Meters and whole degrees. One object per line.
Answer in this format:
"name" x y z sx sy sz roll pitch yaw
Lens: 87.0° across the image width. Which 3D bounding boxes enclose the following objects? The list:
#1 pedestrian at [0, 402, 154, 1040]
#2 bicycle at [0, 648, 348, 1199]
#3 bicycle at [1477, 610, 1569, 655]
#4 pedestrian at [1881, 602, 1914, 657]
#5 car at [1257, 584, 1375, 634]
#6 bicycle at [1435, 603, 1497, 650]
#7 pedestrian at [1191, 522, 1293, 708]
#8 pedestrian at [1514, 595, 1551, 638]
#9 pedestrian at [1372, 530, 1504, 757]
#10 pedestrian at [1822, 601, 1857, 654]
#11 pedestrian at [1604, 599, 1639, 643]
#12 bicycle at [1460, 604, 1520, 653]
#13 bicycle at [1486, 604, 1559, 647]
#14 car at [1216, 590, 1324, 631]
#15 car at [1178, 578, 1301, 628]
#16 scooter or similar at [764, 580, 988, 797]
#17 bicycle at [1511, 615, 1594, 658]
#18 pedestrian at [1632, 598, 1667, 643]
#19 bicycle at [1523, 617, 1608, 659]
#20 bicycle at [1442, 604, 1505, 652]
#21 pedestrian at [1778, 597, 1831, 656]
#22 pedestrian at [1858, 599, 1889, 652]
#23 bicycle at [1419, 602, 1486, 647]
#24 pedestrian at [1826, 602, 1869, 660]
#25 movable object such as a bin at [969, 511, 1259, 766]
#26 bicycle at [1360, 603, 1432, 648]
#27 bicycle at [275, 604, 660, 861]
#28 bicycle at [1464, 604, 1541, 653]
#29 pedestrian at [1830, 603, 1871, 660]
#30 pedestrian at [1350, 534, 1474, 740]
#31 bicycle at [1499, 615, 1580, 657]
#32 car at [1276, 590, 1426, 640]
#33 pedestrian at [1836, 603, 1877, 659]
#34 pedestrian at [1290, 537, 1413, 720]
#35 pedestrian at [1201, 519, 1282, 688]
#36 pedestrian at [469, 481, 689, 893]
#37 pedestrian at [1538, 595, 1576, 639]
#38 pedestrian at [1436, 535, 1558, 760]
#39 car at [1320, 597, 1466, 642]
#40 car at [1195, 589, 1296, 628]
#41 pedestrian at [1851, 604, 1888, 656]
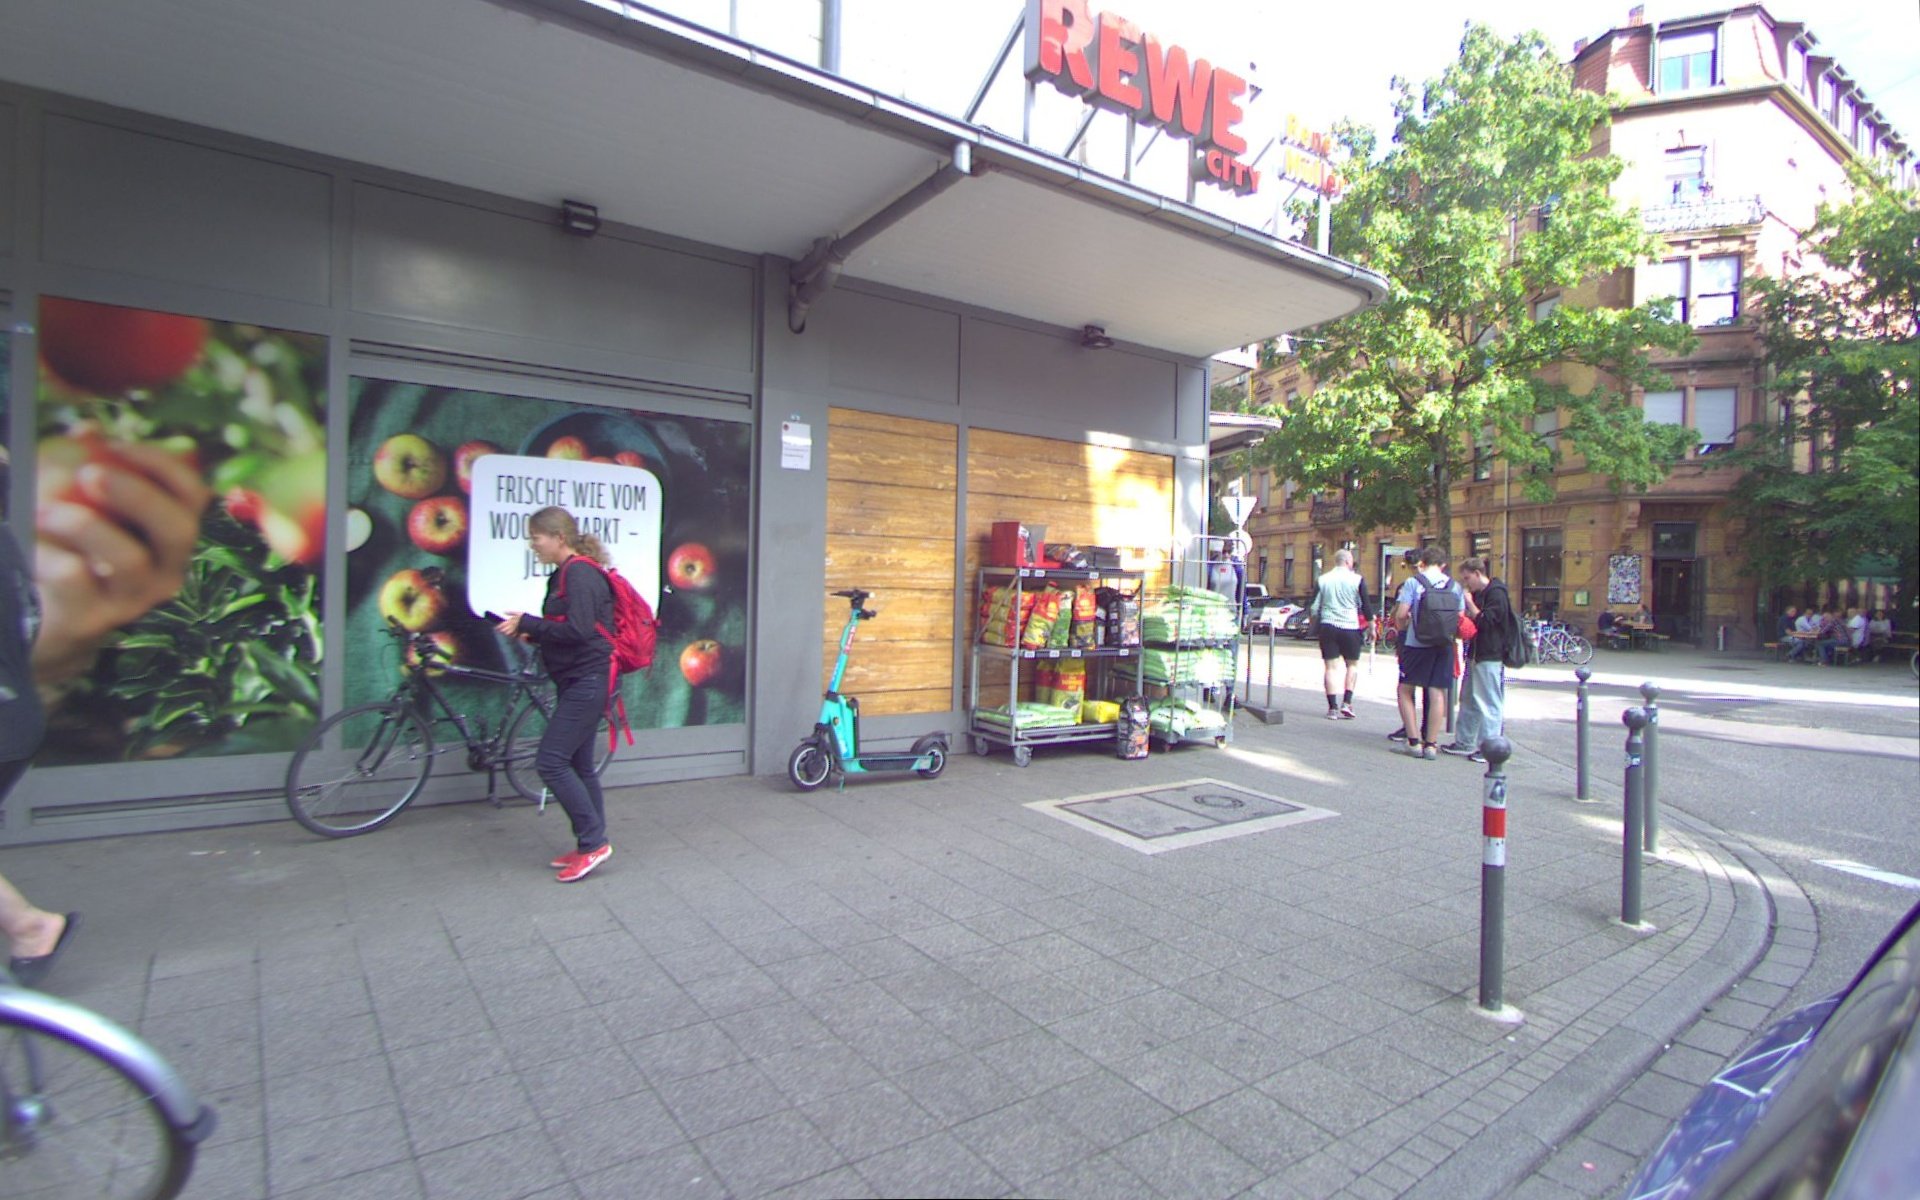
"pedestrian" -3.073 0.313 2.986 1.029 1.768 0.852 1 2 -38
"bicycle" -1.519 0.743 1.453 0.891 1.139 1.889 1 3 -37
"bicycle" 14.042 0.802 25.261 2.008 1.102 0.448 0 1 3
"pedestrian" 23.895 0.742 25.803 0.463 1.343 0.615 2 1 30
"car" 13.029 0.320 37.130 3.631 1.743 1.864 1 -1 -9
"bicycle" 13.790 0.714 27.598 1.676 1.216 0.449 -1 1 -19
"pedestrian" 2.826 0.137 10.232 0.751 1.775 0.930 1 0 2
"pedestrian" 17.905 0.514 31.663 0.753 1.301 0.630 -1 0 -12
"pedestrian" 4.042 0.344 8.610 0.620 1.819 0.715 4 2 -2
"pedestrian" 22.635 0.689 26.061 0.544 1.317 0.615 2 1 31
"pedestrian" 18.977 0.605 29.050 0.629 1.240 0.512 0 2 -3
"bicycle" 13.909 0.732 26.571 1.677 1.216 0.449 -1 1 -24
"bicycle" 15.687 0.703 28.241 1.764 1.128 0.601 0 1 -6
"car" 12.035 0.394 39.378 3.632 1.476 1.672 -1 0 -9
"car" 12.370 0.087 44.899 4.809 2.014 2.051 -2 1 -13
"scooter or similar" -0.522 0.516 6.459 1.233 1.227 0.634 1 3 -38
"bicycle" 14.257 0.875 24.368 1.681 0.999 0.448 0 1 3
"pedestrian" 19.754 0.583 29.004 0.629 1.274 0.512 0 2 -3
"bicycle" 14.299 0.893 23.913 1.681 0.981 0.448 0 1 3
"bicycle" 13.743 0.734 27.105 1.676 1.216 0.449 -1 1 -19
"pedestrian" 20.753 0.646 24.875 0.657 1.396 0.717 1 1 -1
"pedestrian" 23.869 0.666 26.453 0.463 1.343 0.615 2 1 30
"bicycle" 13.678 0.678 28.134 1.678 1.216 0.449 0 1 -6
"pedestrian" 20.977 0.733 23.917 0.727 1.332 0.513 1 0 43
"movable object such as a bin" 1.276 0.266 8.023 2.377 1.766 0.782 1 1 -36
"bicycle" 12.325 0.700 28.680 0.570 1.109 2.505 -2 2 -10
"bicycle" -2.481 0.582 5.291 0.674 1.056 1.712 2 2 35
"bicycle" 13.844 0.729 25.848 1.681 1.216 0.448 0 1 3
"pedestrian" 21.349 0.740 24.265 0.727 1.332 0.513 1 0 43
"pedestrian" 4.172 0.325 9.367 0.645 1.819 0.657 3 2 -23
"bicycle" 14.189 0.870 24.805 1.681 0.999 0.448 0 1 3
"car" 13.180 0.484 34.290 4.227 1.589 2.008 -1 0 -4
"pedestrian" 21.820 0.749 24.635 0.727 1.332 0.598 1 0 43
"pedestrian" 4.218 0.271 10.991 0.871 1.857 1.046 2 2 3
"pedestrian" 3.586 0.028 12.970 0.851 2.038 1.030 3 1 14
"pedestrian" -1.721 0.335 4.542 0.699 1.652 0.724 1 2 -37
"pedestrian" 18.199 0.510 30.836 0.753 1.301 0.630 -1 0 -12
"pedestrian" 4.621 0.382 8.758 0.706 1.819 0.628 4 2 20
"car" 13.546 0.592 31.704 4.027 1.286 1.571 -1 0 -12
"car" 11.801 0.334 41.946 3.632 1.475 1.673 -2 1 -10
"pedestrian" 23.091 0.752 25.699 0.544 1.247 0.615 2 1 31
